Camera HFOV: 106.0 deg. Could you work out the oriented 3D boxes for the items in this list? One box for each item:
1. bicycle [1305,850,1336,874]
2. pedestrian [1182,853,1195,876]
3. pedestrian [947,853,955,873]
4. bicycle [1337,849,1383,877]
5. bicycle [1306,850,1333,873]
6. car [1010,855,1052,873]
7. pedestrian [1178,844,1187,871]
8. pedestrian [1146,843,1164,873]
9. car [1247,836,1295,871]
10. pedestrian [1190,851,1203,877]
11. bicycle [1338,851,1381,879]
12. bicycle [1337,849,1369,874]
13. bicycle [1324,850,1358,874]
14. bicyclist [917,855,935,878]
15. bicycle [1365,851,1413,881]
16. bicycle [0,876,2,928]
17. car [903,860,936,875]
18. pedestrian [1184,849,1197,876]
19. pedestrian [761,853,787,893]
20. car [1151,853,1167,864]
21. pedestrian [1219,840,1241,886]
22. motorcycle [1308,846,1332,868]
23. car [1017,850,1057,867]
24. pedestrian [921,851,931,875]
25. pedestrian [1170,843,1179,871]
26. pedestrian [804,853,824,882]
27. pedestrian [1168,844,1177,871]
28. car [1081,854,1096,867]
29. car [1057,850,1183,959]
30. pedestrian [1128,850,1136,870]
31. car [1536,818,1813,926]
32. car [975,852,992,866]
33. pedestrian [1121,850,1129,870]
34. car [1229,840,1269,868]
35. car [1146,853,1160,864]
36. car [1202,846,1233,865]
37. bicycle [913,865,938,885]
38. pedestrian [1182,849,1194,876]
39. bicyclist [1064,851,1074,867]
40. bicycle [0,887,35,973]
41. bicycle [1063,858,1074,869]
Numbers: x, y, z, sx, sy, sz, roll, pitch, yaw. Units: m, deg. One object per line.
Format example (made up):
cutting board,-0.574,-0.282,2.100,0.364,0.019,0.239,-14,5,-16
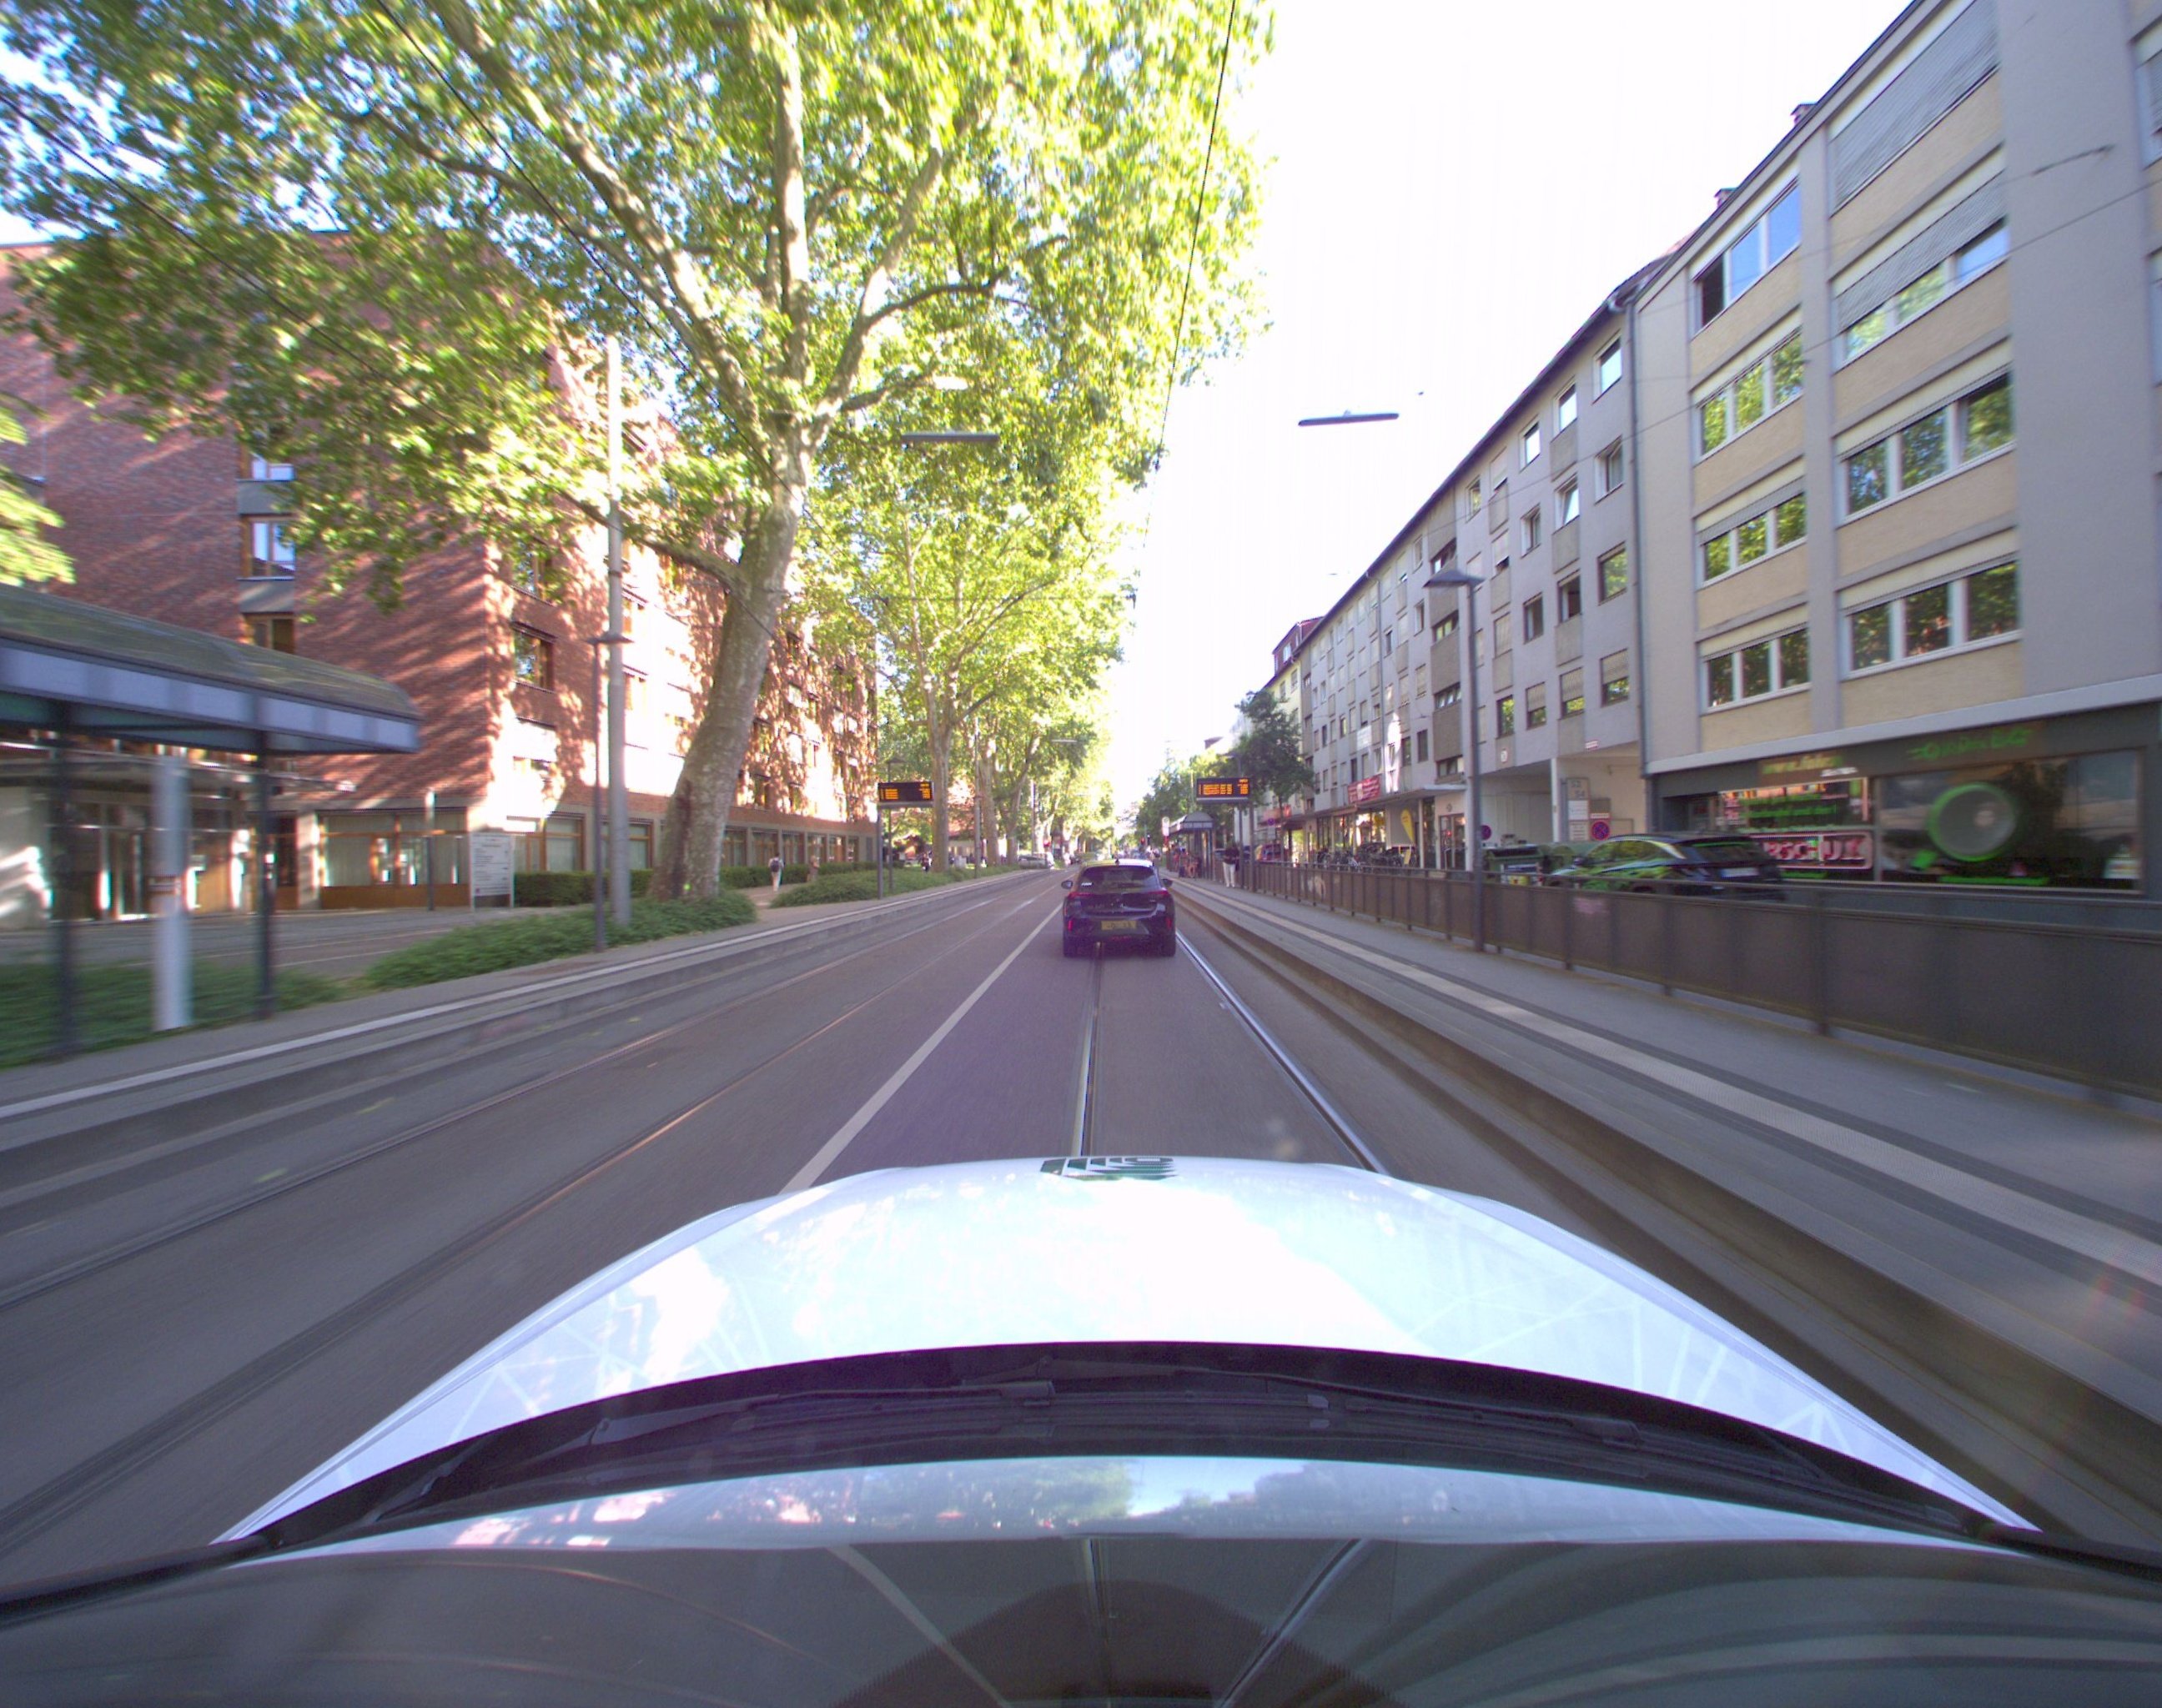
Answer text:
bicycle,11.895,0.382,40.462,0.597,1.136,2.197,0,-1,-9
pedestrian,5.201,0.524,39.441,0.533,1.099,0.550,0,-1,-3
pedestrian,-12.735,0.871,79.973,0.670,1.950,0.498,1,0,-2
bicycle,12.197,0.390,35.748,0.611,1.136,2.912,0,0,-9
bicycle,12.238,0.390,41.773,0.596,1.136,2.201,0,-1,-4
car,-4.896,0.958,79.438,4.108,1.701,1.880,0,-1,-6
pedestrian,6.510,0.219,52.220,0.529,1.763,0.662,0,-1,4
pedestrian,4.322,0.234,47.428,0.742,1.709,0.768,-1,-1,36
car,11.312,-0.013,48.690,1.986,1.952,4.001,0,-1,1
pedestrian,5.519,0.454,38.913,0.533,1.230,0.510,0,-1,-3
bicycle,11.721,0.466,34.360,0.602,1.136,2.427,0,-1,-9
bicycle,12.524,0.335,37.518,0.410,1.136,2.197,0,-1,-9
bicycle,12.567,0.369,39.436,0.597,1.136,2.197,0,-1,-9
bicyclist,-10.197,0.813,53.617,0.951,1.491,0.838,0,-1,2
bicycle,12.040,0.470,31.911,0.621,1.136,2.431,0,-1,-9
bicycle,-23.380,0.998,16.380,1.943,1.073,0.761,0,-1,-15
car,-22.763,1.916,115.088,4.234,2.014,2.001,0,-1,1
pedestrian,5.432,0.425,40.518,0.533,1.304,0.550,0,-1,-3
pedestrian,-13.030,0.813,34.577,0.732,1.672,0.861,0,-1,2
car,11.415,0.645,119.408,1.986,1.632,4.002,0,0,2
pedestrian,5.201,0.294,28.418,0.628,1.576,0.871,1,0,2
motorcycle,14.468,0.204,49.348,0.888,1.280,2.044,0,-1,2
car,-4.886,0.457,90.361,4.378,1.851,1.996,0,-1,-6
pedestrian,-12.349,0.722,64.817,0.493,1.950,0.677,-1,-1,14
pedestrian,5.891,0.186,51.485,0.529,1.709,0.753,0,-1,4
pedestrian,-14.852,0.762,45.342,0.772,1.605,0.946,0,-1,2
pedestrian,5.937,0.228,52.867,0.529,1.709,0.596,0,-1,4
car,0.844,0.778,97.542,1.739,1.544,3.999,0,0,0
car,0.554,0.735,13.482,1.754,1.508,3.682,-2,0,0
pedestrian,5.201,0.612,82.392,0.670,2.013,0.704,1,0,13
car,10.220,0.288,14.537,1.850,1.615,4.399,0,0,2
car,-14.772,0.736,123.312,1.986,2.014,4.002,0,-1,2
pedestrian,4.450,0.567,82.573,0.671,2.013,0.703,1,0,8
car,11.377,0.005,55.314,1.986,1.797,4.001,0,0,1
car,11.686,0.740,132.168,1.986,1.632,4.002,0,0,2
car,11.294,0.146,67.558,1.986,1.486,4.002,0,0,2
bicycle,-10.199,1.377,53.607,0.951,1.240,2.979,0,0,2
pedestrian,5.258,0.411,39.970,0.501,1.304,0.428,0,-1,-3
bicyclist,-1.302,0.583,90.229,0.936,1.703,1.154,-1,-1,5
bicycle,-16.074,1.052,11.277,2.331,1.166,0.682,0,-1,2
bicycle,-1.366,1.039,89.359,0.950,1.240,2.981,-1,0,5
